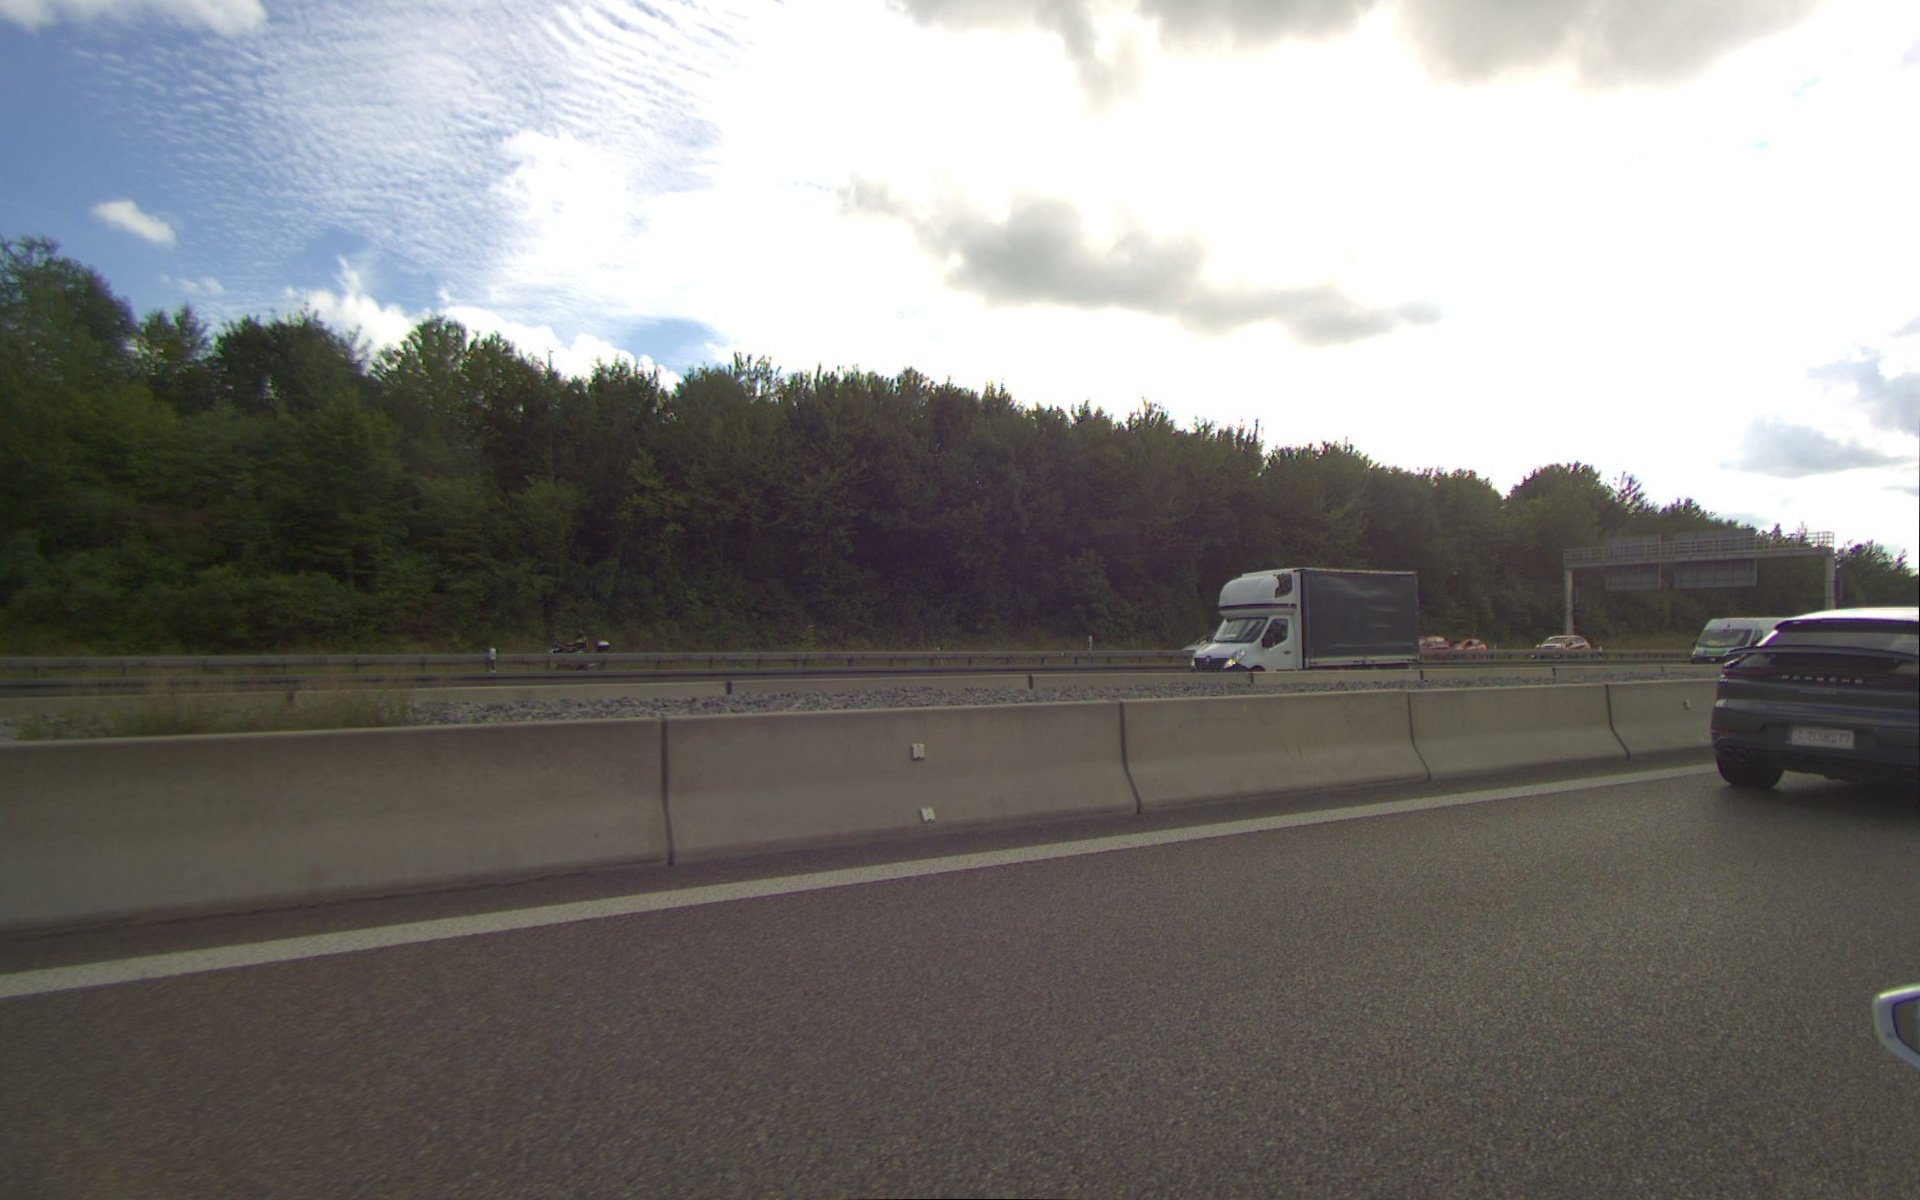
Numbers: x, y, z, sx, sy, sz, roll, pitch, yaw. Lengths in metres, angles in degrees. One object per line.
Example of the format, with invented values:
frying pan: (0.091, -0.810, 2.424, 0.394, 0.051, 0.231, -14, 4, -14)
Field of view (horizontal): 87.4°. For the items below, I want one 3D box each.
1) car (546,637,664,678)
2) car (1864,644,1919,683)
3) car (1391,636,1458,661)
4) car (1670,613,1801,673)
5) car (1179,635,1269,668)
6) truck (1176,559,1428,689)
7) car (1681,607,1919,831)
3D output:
car: (-13.859, 2.209, 39.270, 4.133, 1.514, 1.584, 1, -2, -31)
car: (39.144, 2.587, 41.396, 4.005, 1.531, 1.728, 2, -2, -31)
car: (27.095, 2.807, 58.553, 4.005, 1.383, 1.556, 2, -2, -31)
car: (32.229, 1.766, 41.694, 6.387, 2.301, 2.153, 1, -2, -31)
car: (11.855, 2.290, 45.025, 4.005, 1.383, 1.556, 2, -2, -31)
truck: (9.797, 0.718, 28.434, 7.735, 3.307, 2.342, 1, -2, -31)
car: (9.134, 0.941, 9.366, 5.436, 1.658, 1.903, 1, -1, -31)
